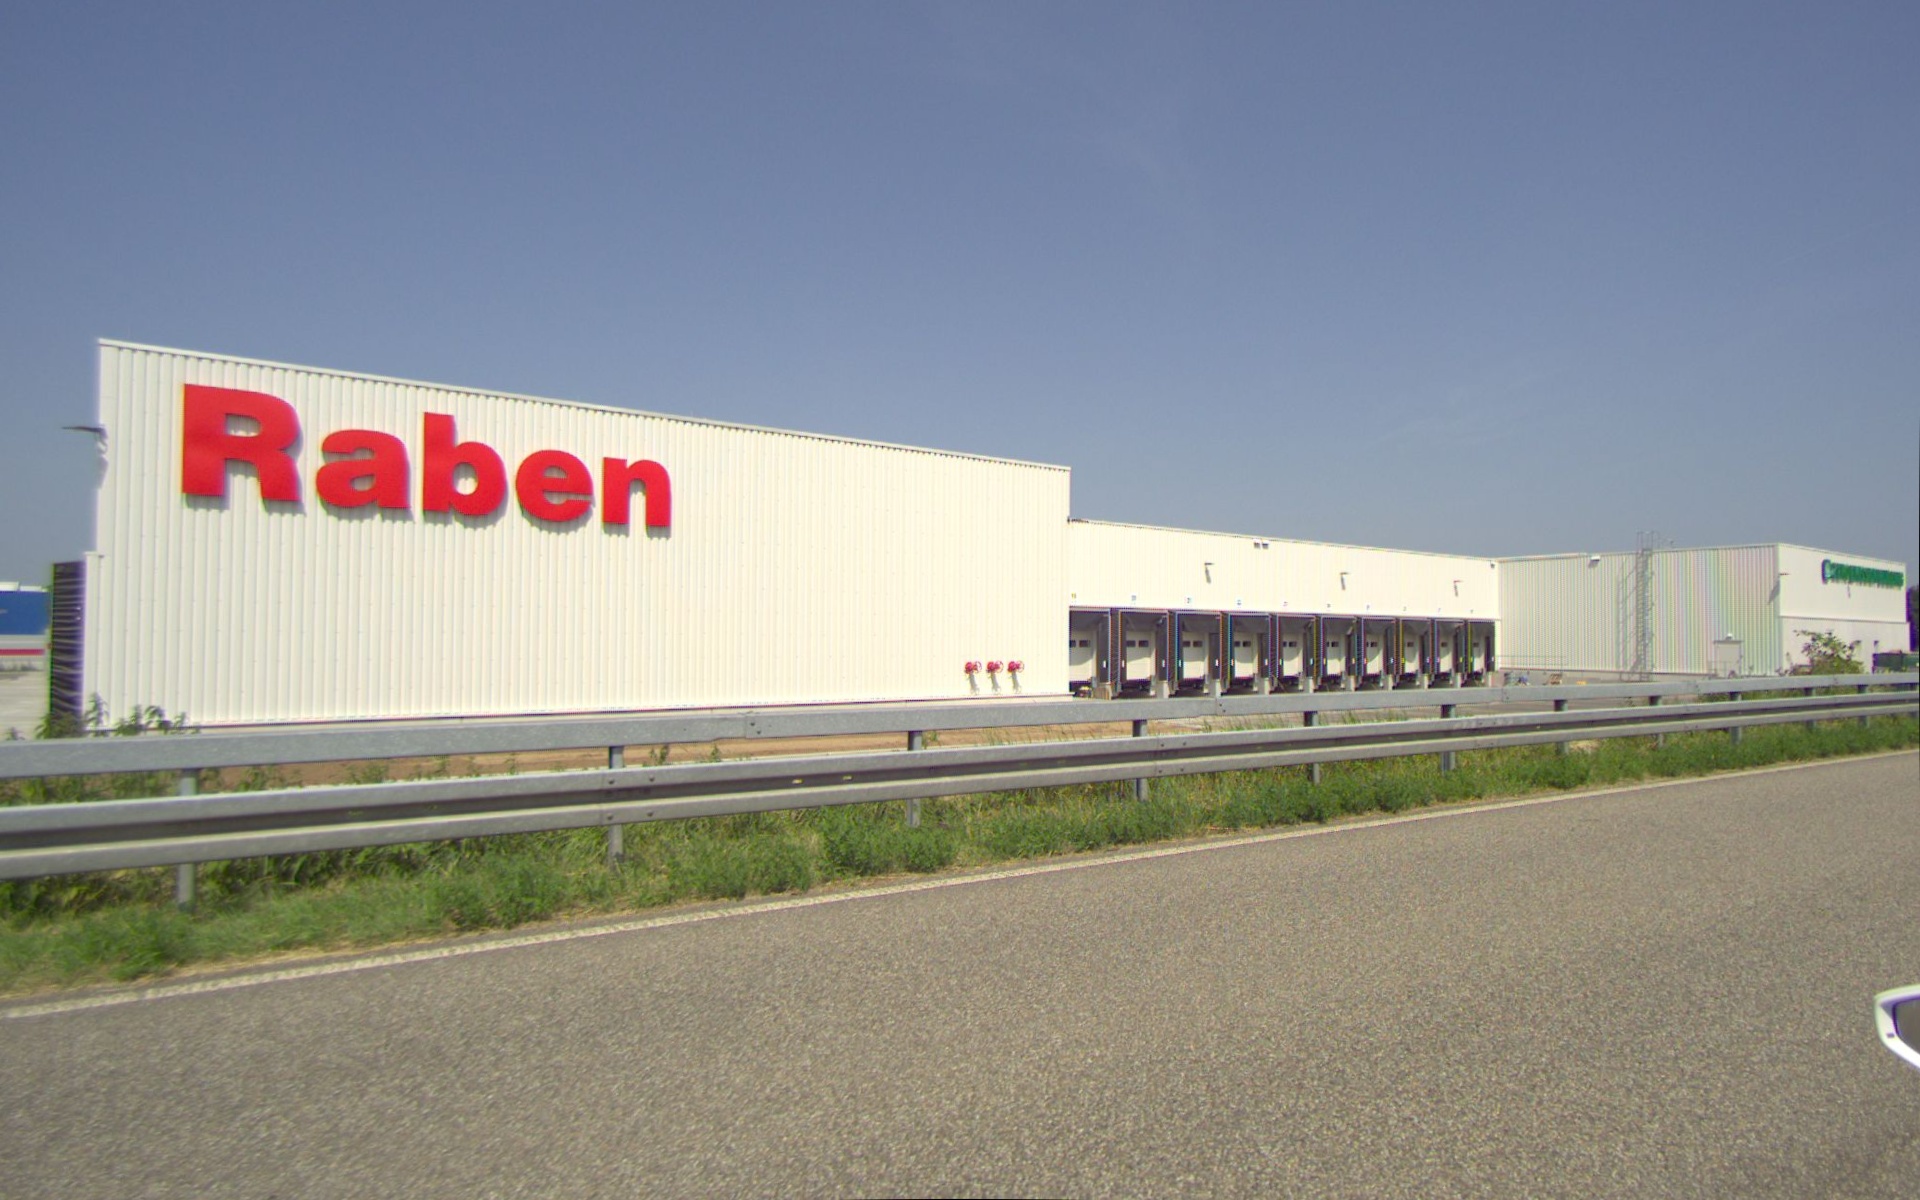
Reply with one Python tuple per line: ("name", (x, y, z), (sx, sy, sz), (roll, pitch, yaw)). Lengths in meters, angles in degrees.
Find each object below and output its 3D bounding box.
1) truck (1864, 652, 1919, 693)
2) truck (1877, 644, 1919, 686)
("truck", (59.108, 4.488, 61.631), (2.206, 2.364, 4.986), (1, -1, -29))
("truck", (61.680, 4.166, 63.566), (2.250, 2.571, 5.013), (2, -1, -34))
